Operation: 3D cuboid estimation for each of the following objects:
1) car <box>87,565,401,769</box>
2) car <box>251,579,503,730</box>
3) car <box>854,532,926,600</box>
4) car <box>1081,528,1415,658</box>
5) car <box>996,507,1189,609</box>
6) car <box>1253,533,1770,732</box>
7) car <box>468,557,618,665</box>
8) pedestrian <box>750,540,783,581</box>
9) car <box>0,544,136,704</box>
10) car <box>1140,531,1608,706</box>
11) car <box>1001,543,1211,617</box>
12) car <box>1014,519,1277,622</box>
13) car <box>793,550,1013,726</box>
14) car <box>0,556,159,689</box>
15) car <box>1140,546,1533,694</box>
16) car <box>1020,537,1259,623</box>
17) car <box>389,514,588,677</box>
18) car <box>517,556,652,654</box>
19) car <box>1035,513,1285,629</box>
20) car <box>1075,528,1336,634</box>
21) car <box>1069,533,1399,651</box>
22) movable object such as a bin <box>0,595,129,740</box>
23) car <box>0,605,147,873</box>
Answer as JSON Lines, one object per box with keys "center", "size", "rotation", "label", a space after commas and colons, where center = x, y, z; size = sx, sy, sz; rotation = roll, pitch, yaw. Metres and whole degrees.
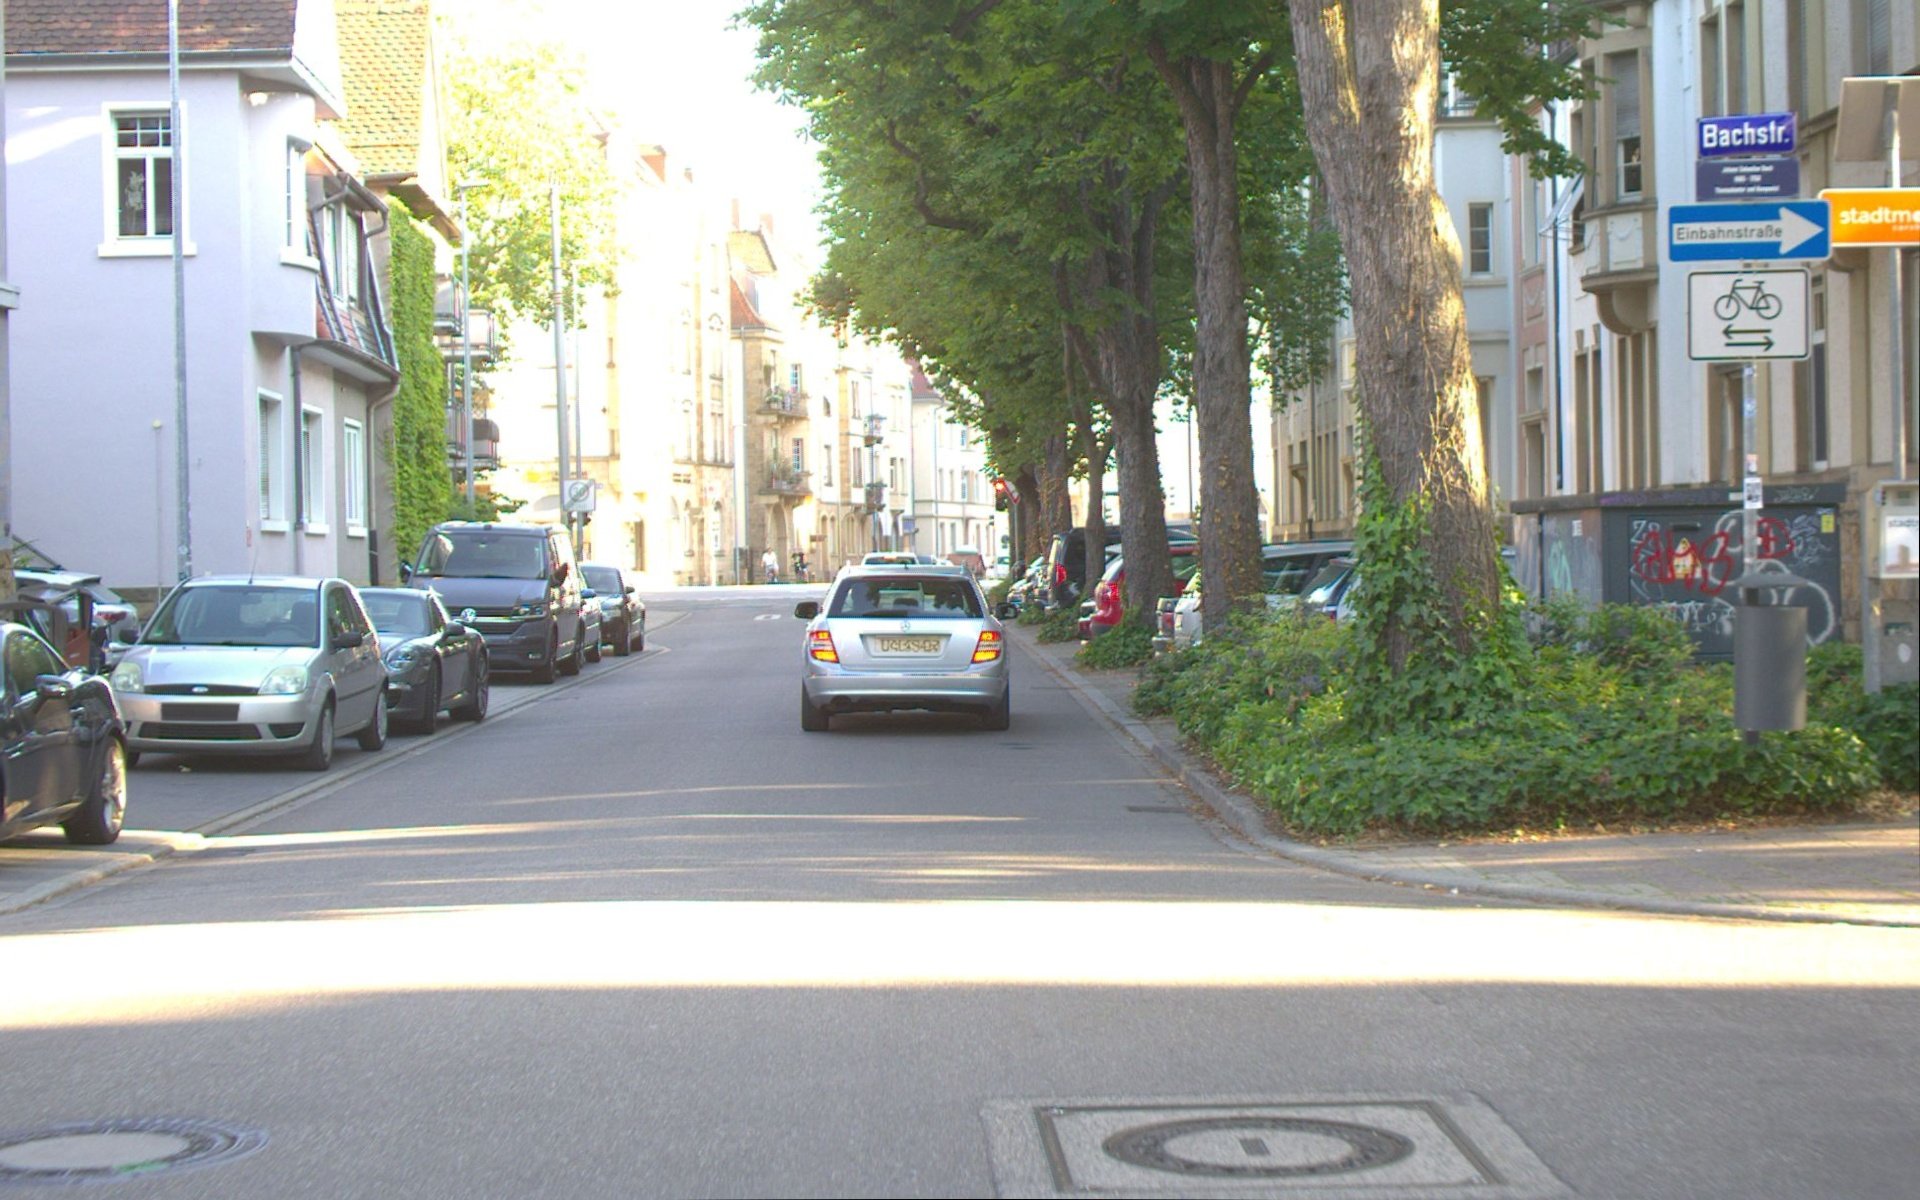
{"center": [-5.558, 0.472, 27.114], "size": [1.653, 1.440, 3.960], "rotation": [0, 1, 0], "label": "car"}
{"center": [-5.403, 0.466, 32.291], "size": [1.531, 1.314, 4.226], "rotation": [0, 0, 2], "label": "car"}
{"center": [-1.642, -0.834, 81.734], "size": [1.623, 1.564, 3.680], "rotation": [-1, 1, 0], "label": "car"}
{"center": [3.716, -0.097, 44.903], "size": [4.190, 1.470, 1.851], "rotation": [-3, 1, 2], "label": "car"}
{"center": [3.127, -1.007, 81.586], "size": [4.388, 2.356, 2.000], "rotation": [-1, 1, -3], "label": "car"}
{"center": [4.432, 0.241, 27.943], "size": [3.792, 1.433, 1.749], "rotation": [-2, 1, -5], "label": "car"}
{"center": [-5.945, 0.125, 49.388], "size": [1.653, 1.442, 4.238], "rotation": [1, 1, -1], "label": "car"}
{"center": [-8.136, -1.650, 144.588], "size": [1.221, 1.716, 1.503], "rotation": [0, 1, 2], "label": "pedestrian"}
{"center": [-10.795, 0.242, 36.173], "size": [3.862, 1.616, 1.898], "rotation": [0, 1, -4], "label": "car"}
{"center": [3.904, 0.160, 32.784], "size": [4.146, 1.571, 1.713], "rotation": [-1, 1, -6], "label": "car"}
{"center": [3.101, -0.448, 73.681], "size": [4.287, 1.412, 1.877], "rotation": [-2, 1, -3], "label": "car"}
{"center": [3.677, -0.611, 68.757], "size": [5.053, 1.982, 2.072], "rotation": [-1, 1, -3], "label": "car"}
{"center": [-0.473, 0.299, 29.988], "size": [1.784, 1.432, 3.851], "rotation": [0, 0, 0], "label": "car"}
{"center": [-11.140, 0.245, 38.816], "size": [3.862, 1.438, 1.635], "rotation": [0, 1, -4], "label": "car"}
{"center": [3.803, 0.190, 35.207], "size": [3.793, 1.433, 1.818], "rotation": [-1, 1, -1], "label": "car"}
{"center": [3.338, -0.389, 64.387], "size": [4.287, 1.535, 1.877], "rotation": [-1, 1, -3], "label": "car"}
{"center": [-5.922, -0.099, 43.680], "size": [1.982, 1.941, 4.852], "rotation": [0, 1, -2], "label": "car"}
{"center": [-5.902, 0.051, 54.443], "size": [1.695, 1.442, 4.358], "rotation": [0, 1, -1], "label": "car"}
{"center": [3.543, -0.518, 61.495], "size": [4.219, 1.890, 1.906], "rotation": [-2, 1, -2], "label": "car"}
{"center": [4.017, -0.325, 56.800], "size": [4.110, 1.566, 1.877], "rotation": [-2, 1, 0], "label": "car"}
{"center": [3.755, -0.120, 47.717], "size": [4.411, 1.414, 1.877], "rotation": [-3, 1, 2], "label": "car"}
{"center": [-8.432, 0.613, 32.349], "size": [0.721, 1.279, 2.096], "rotation": [-1, 1, -1], "label": "movable object such as a bin"}
{"center": [-5.688, 0.712, 18.336], "size": [1.653, 1.319, 4.045], "rotation": [1, 1, 1], "label": "car"}
